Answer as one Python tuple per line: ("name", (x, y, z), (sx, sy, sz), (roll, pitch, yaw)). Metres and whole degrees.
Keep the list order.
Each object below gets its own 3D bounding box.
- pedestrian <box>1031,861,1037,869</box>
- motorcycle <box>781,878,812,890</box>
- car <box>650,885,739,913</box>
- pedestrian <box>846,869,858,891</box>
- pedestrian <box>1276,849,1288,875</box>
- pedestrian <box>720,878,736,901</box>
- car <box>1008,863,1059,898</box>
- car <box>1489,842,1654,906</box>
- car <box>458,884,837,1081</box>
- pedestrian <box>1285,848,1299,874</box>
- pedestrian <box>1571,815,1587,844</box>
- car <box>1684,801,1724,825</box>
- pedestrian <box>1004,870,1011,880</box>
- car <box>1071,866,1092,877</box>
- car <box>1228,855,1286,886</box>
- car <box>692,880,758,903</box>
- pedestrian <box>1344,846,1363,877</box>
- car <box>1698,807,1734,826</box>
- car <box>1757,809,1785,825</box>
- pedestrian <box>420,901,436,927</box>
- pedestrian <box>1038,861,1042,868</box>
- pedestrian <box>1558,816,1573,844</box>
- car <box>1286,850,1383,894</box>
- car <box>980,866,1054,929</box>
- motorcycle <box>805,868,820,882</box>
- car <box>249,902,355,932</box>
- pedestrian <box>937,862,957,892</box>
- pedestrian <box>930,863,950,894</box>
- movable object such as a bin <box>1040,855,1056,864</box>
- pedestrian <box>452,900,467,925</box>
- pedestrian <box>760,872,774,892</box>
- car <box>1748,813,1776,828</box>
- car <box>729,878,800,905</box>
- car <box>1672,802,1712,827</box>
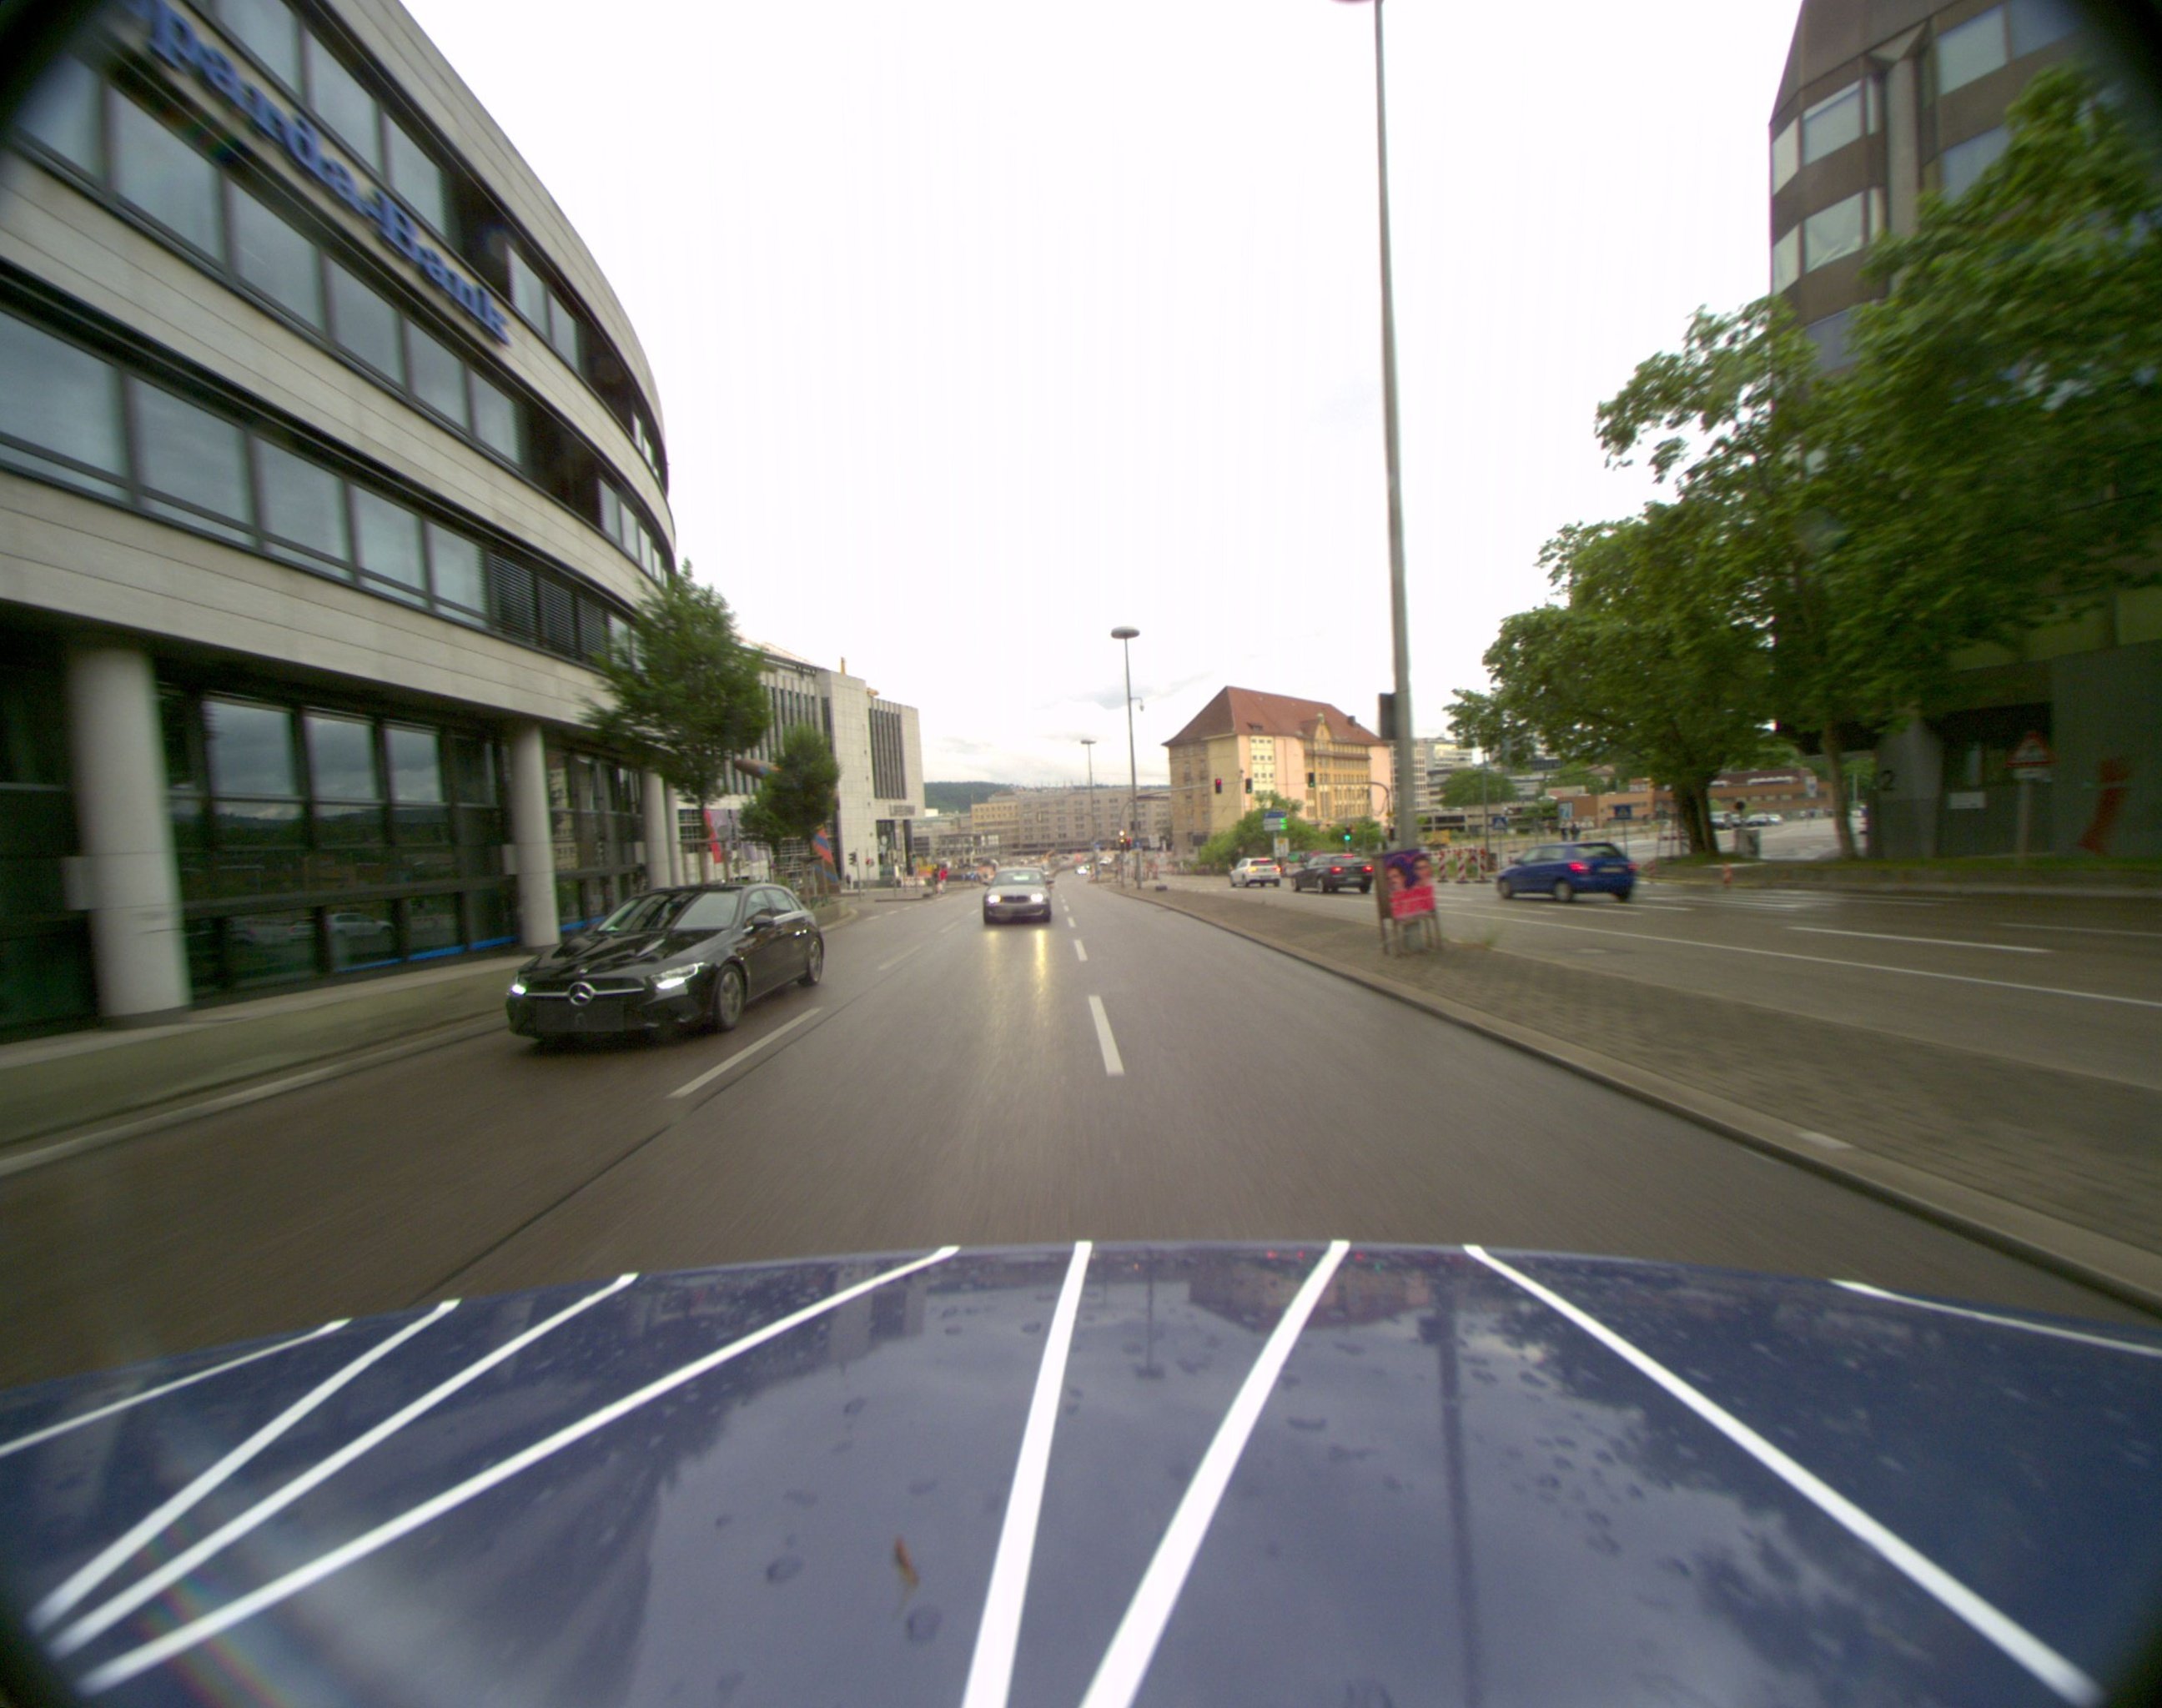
("pedestrian", (-11.279, 2.639, 181.836), (0.818, 1.838, 0.933), (-2, 2, 35))
("motorcycle", (-26.068, 2.769, 69.646), (2.572, 1.074, 0.634), (0, -1, -9))
("car", (-24.384, 2.836, 48.016), (4.707, 1.434, 1.868), (-3, 2, 10))
("pedestrian", (-22.960, 2.603, 76.121), (0.856, 2.086, 0.903), (-5, 0, -24))
("pedestrian", (15.454, 0.603, 58.394), (0.674, 1.891, 0.775), (-3, 2, 1))
("pedestrian", (-29.642, 2.976, 63.847), (0.968, 1.807, 0.782), (-2, 3, 39))
("car", (-2.300, 1.270, 38.162), (1.968, 1.539, 4.220), (-3, -1, 3))
("car", (12.475, 0.465, 19.670), (1.612, 1.465, 4.067), (-1, 0, -1))
("car", (-4.201, 1.125, 8.300), (1.759, 1.399, 4.226), (-1, 0, -1))
("pedestrian", (16.199, 0.551, 58.376), (0.763, 1.912, 0.742), (-3, 2, 1))
("pedestrian", (38.128, -1.850, 58.196), (0.744, 2.128, 0.745), (-5, 1, -38))
("car", (56.997, -3.766, 69.451), (4.006, 2.002, 1.995), (-4, 2, -38))
("pedestrian", (-12.567, 3.608, 129.355), (0.732, 1.566, 0.806), (-3, 2, 26))
("car", (0.093, 3.340, 147.989), (2.003, 2.002, 3.990), (-3, 0, -38))
("car", (8.913, 0.824, 38.744), (1.766, 1.452, 4.359), (-2, -1, -2))
("car", (-28.243, 2.969, 60.320), (4.621, 1.443, 1.703), (-4, 1, -25))
("pedestrian", (16.922, 0.442, 47.164), (0.743, 1.870, 0.746), (-4, 2, -11))
("car", (63.490, -3.728, 75.933), (4.006, 1.696, 1.995), (-4, 2, -38))
("car", (83.902, -4.506, 92.376), (4.291, 1.696, 1.885), (-4, 2, -38))
("pedestrian", (-45.186, 4.164, 52.577), (0.560, 1.736, 0.553), (-4, -1, 25))
("pedestrian", (-10.097, 2.575, 188.154), (0.647, 1.544, 0.767), (-2, 2, 35))
("pedestrian", (37.511, -1.866, 58.826), (0.703, 2.159, 0.745), (-5, 3, -38))
("car", (9.275, 0.650, 28.197), (1.812, 1.440, 4.338), (-2, -1, -5))
("car", (-1.703, 1.103, 20.632), (1.745, 1.434, 3.999), (-3, 0, -4))
("motorcycle", (-25.353, 2.007, 71.692), (1.245, 1.263, 0.619), (-2, 0, -9))
("car", (-52.554, 4.214, 51.387), (4.587, 1.624, 1.773), (-3, -1, -28))
("pedestrian", (-8.656, 1.480, 49.192), (0.841, 1.894, 0.862), (-2, 2, 25))
("pedestrian", (-8.915, 1.527, 47.959), (0.841, 1.894, 0.733), (-2, 2, 25))
("movable object such as a bin", (-9.400, 1.546, 217.192), (4.135, 2.521, 1.995), (-4, 2, -36))
("pedestrian", (-43.830, 4.109, 53.568), (0.560, 1.736, 0.553), (-4, -1, 25))
("pedestrian", (-27.469, 2.440, 66.476), (0.731, 1.701, 0.843), (-3, 2, -2))
("car", (79.364, -3.907, 88.509), (4.006, 1.517, 1.733), (-4, 2, -38))
("car", (-21.997, 2.585, 52.875), (3.997, 1.434, 1.866), (-4, 3, 1))
("car", (52.763, -3.386, 65.621), (4.006, 1.954, 1.809), (-4, 2, -38))
